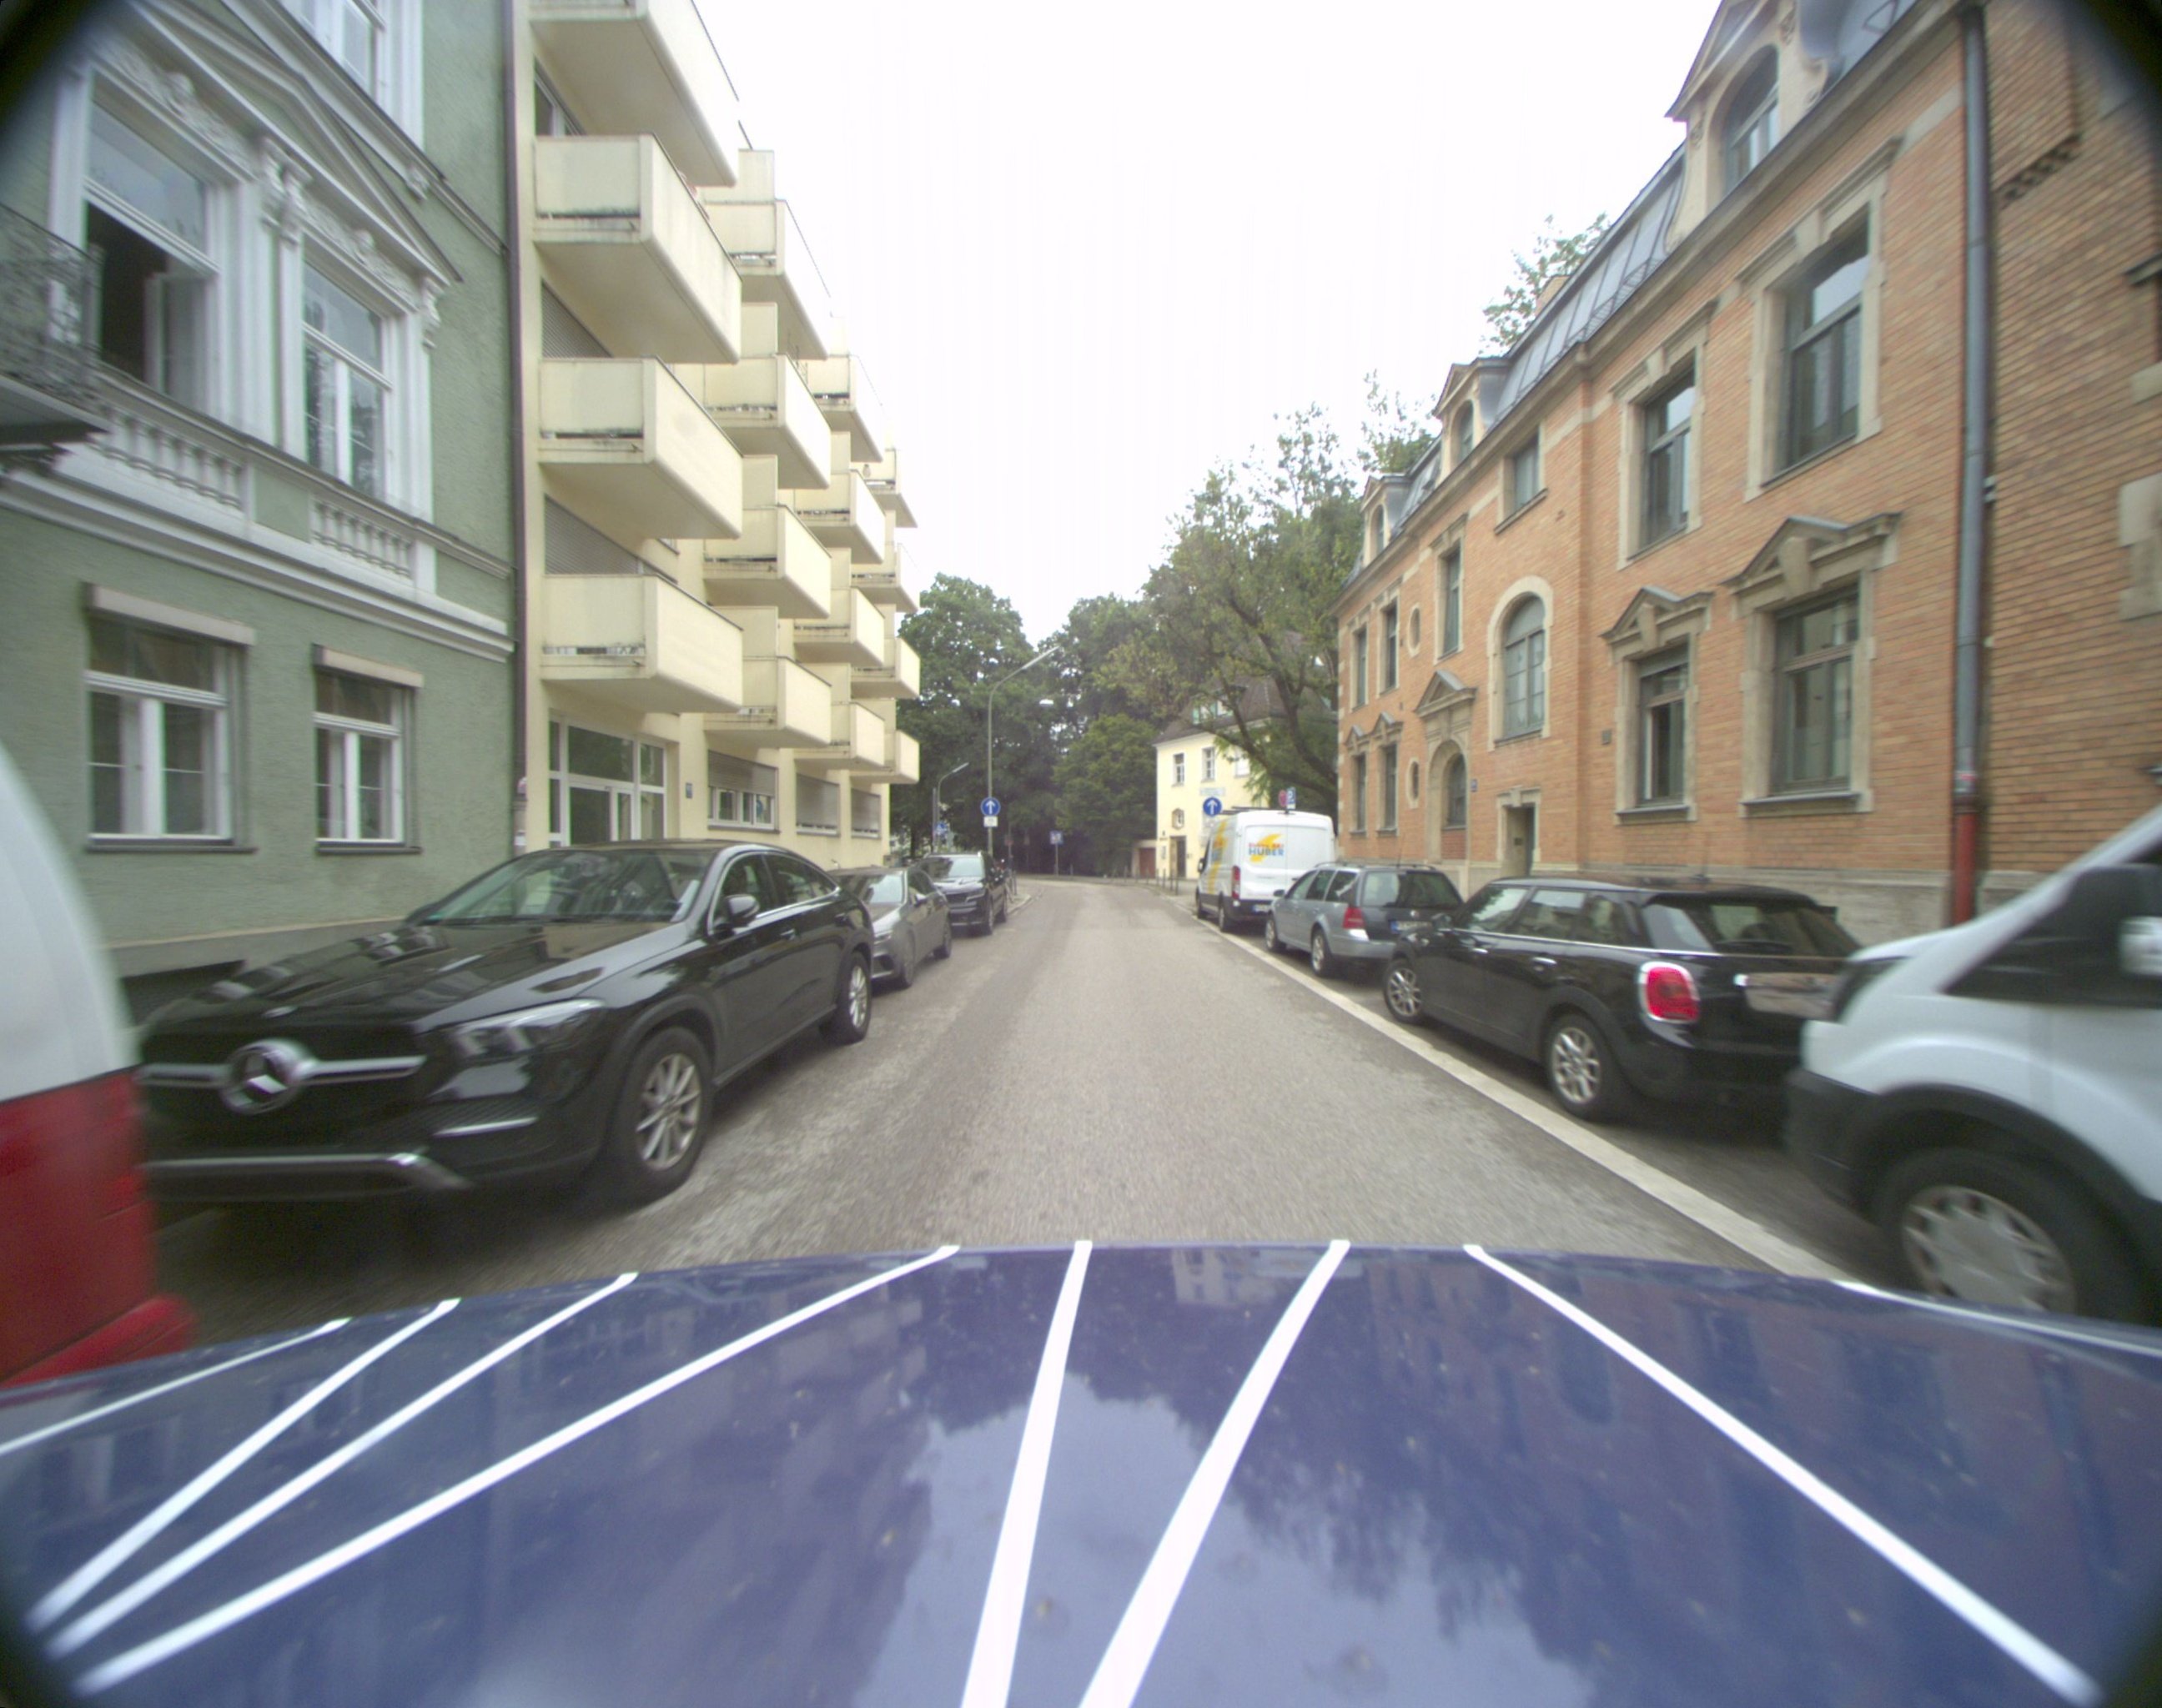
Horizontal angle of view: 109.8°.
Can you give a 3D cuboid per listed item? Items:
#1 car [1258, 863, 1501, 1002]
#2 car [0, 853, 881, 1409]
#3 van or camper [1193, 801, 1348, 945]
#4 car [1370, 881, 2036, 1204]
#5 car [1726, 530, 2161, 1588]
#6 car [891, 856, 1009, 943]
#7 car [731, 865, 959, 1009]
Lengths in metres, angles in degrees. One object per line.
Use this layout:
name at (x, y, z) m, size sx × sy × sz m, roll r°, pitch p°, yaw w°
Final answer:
car at (3.862, 0.919, 10.653) m, size 1.769 × 1.491 × 4.080 m, roll 1°, pitch 0°, yaw 0°
car at (-2.840, 0.862, 4.715) m, size 1.860 × 1.700 × 4.698 m, roll 1°, pitch 0°, yaw 1°
van or camper at (3.898, 0.351, 16.654) m, size 2.116 × 2.646 × 4.957 m, roll 1°, pitch 0°, yaw 0°
car at (3.743, 0.988, 5.590) m, size 1.769 × 1.407 × 3.792 m, roll 1°, pitch 0°, yaw 0°
car at (3.579, 0.487, 0.320) m, size 2.117 × 2.461 × 5.231 m, roll 1°, pitch 0°, yaw 0°
car at (-2.646, 0.859, 16.318) m, size 1.771 × 1.607 × 4.263 m, roll 0°, pitch 0°, yaw 0°
car at (-2.900, 0.931, 10.396) m, size 1.753 × 1.458 × 4.336 m, roll 1°, pitch 0°, yaw 0°
